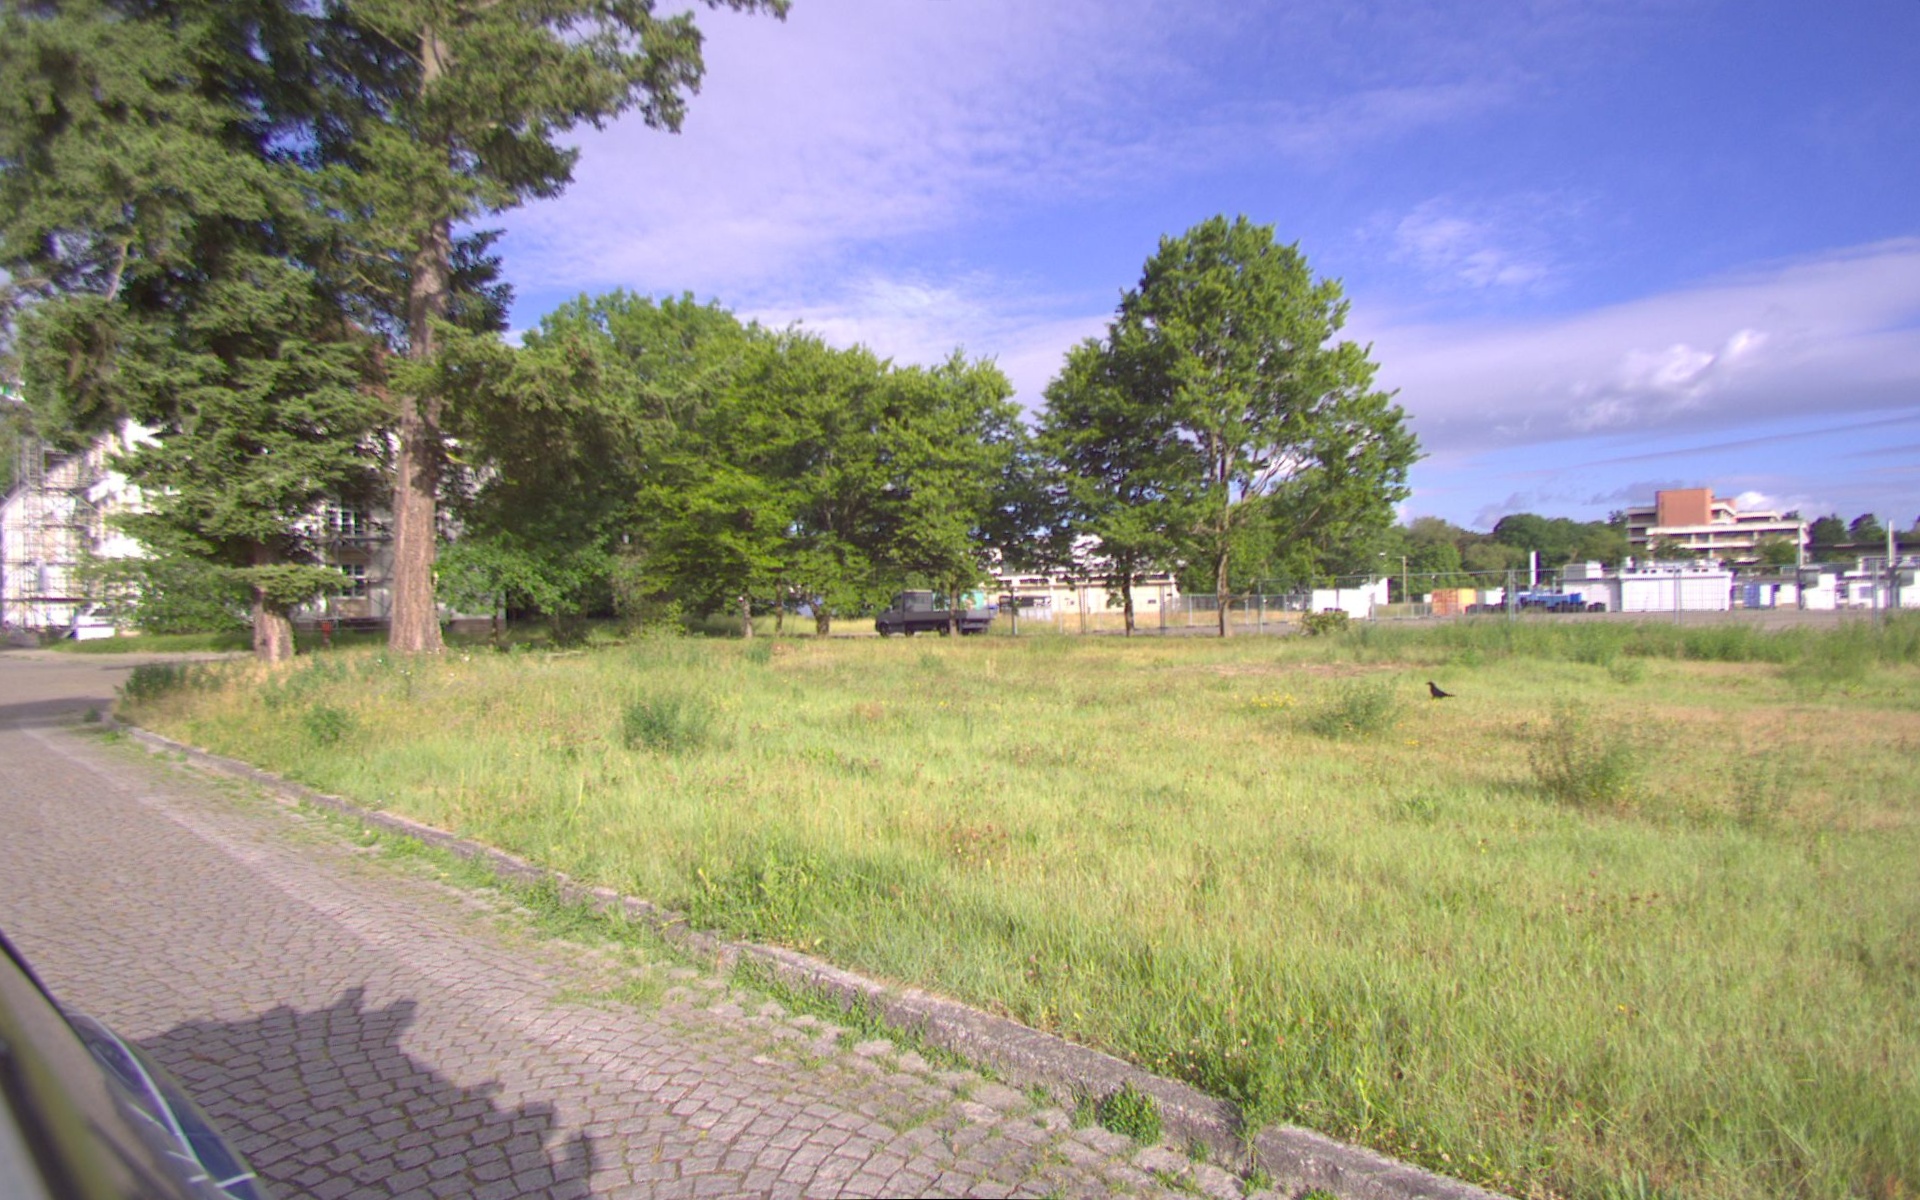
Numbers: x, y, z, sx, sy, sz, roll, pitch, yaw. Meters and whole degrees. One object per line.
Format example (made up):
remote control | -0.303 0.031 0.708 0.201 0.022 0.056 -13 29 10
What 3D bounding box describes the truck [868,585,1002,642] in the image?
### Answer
truck | -1.349 0.667 49.739 6.961 2.606 2.384 -2 -1 44
